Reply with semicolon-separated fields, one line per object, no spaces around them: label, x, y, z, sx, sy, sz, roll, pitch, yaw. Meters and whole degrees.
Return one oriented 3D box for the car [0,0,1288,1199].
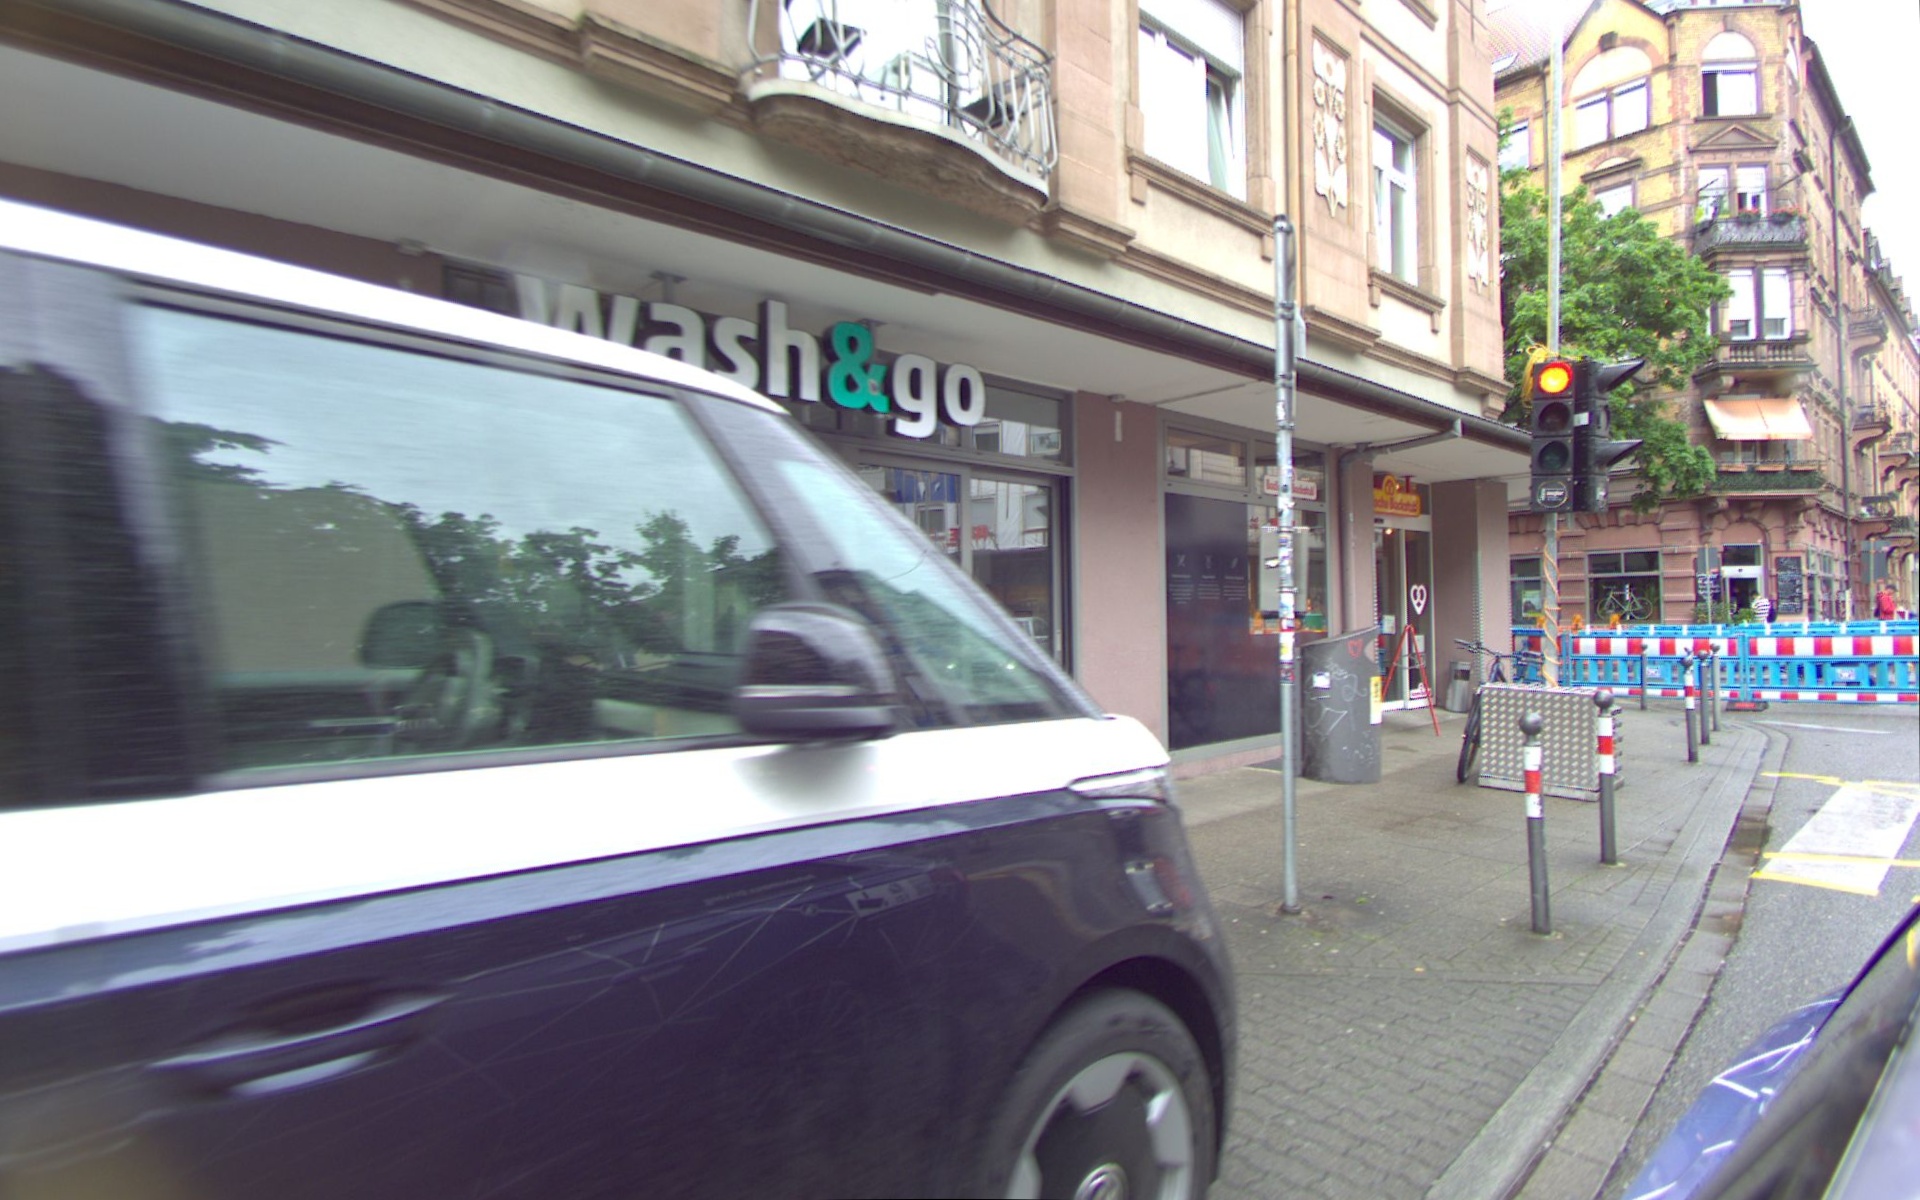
car;-1.798;0.486;1.090;5.145;1.963;1.994;-1;1;-45

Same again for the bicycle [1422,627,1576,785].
bicycle;4.562;0.822;8.500;0.623;1.142;1.907;-2;-1;44

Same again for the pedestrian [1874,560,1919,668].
pedestrian;23.383;0.340;25.179;0.686;2.642;0.537;-2;-1;17
